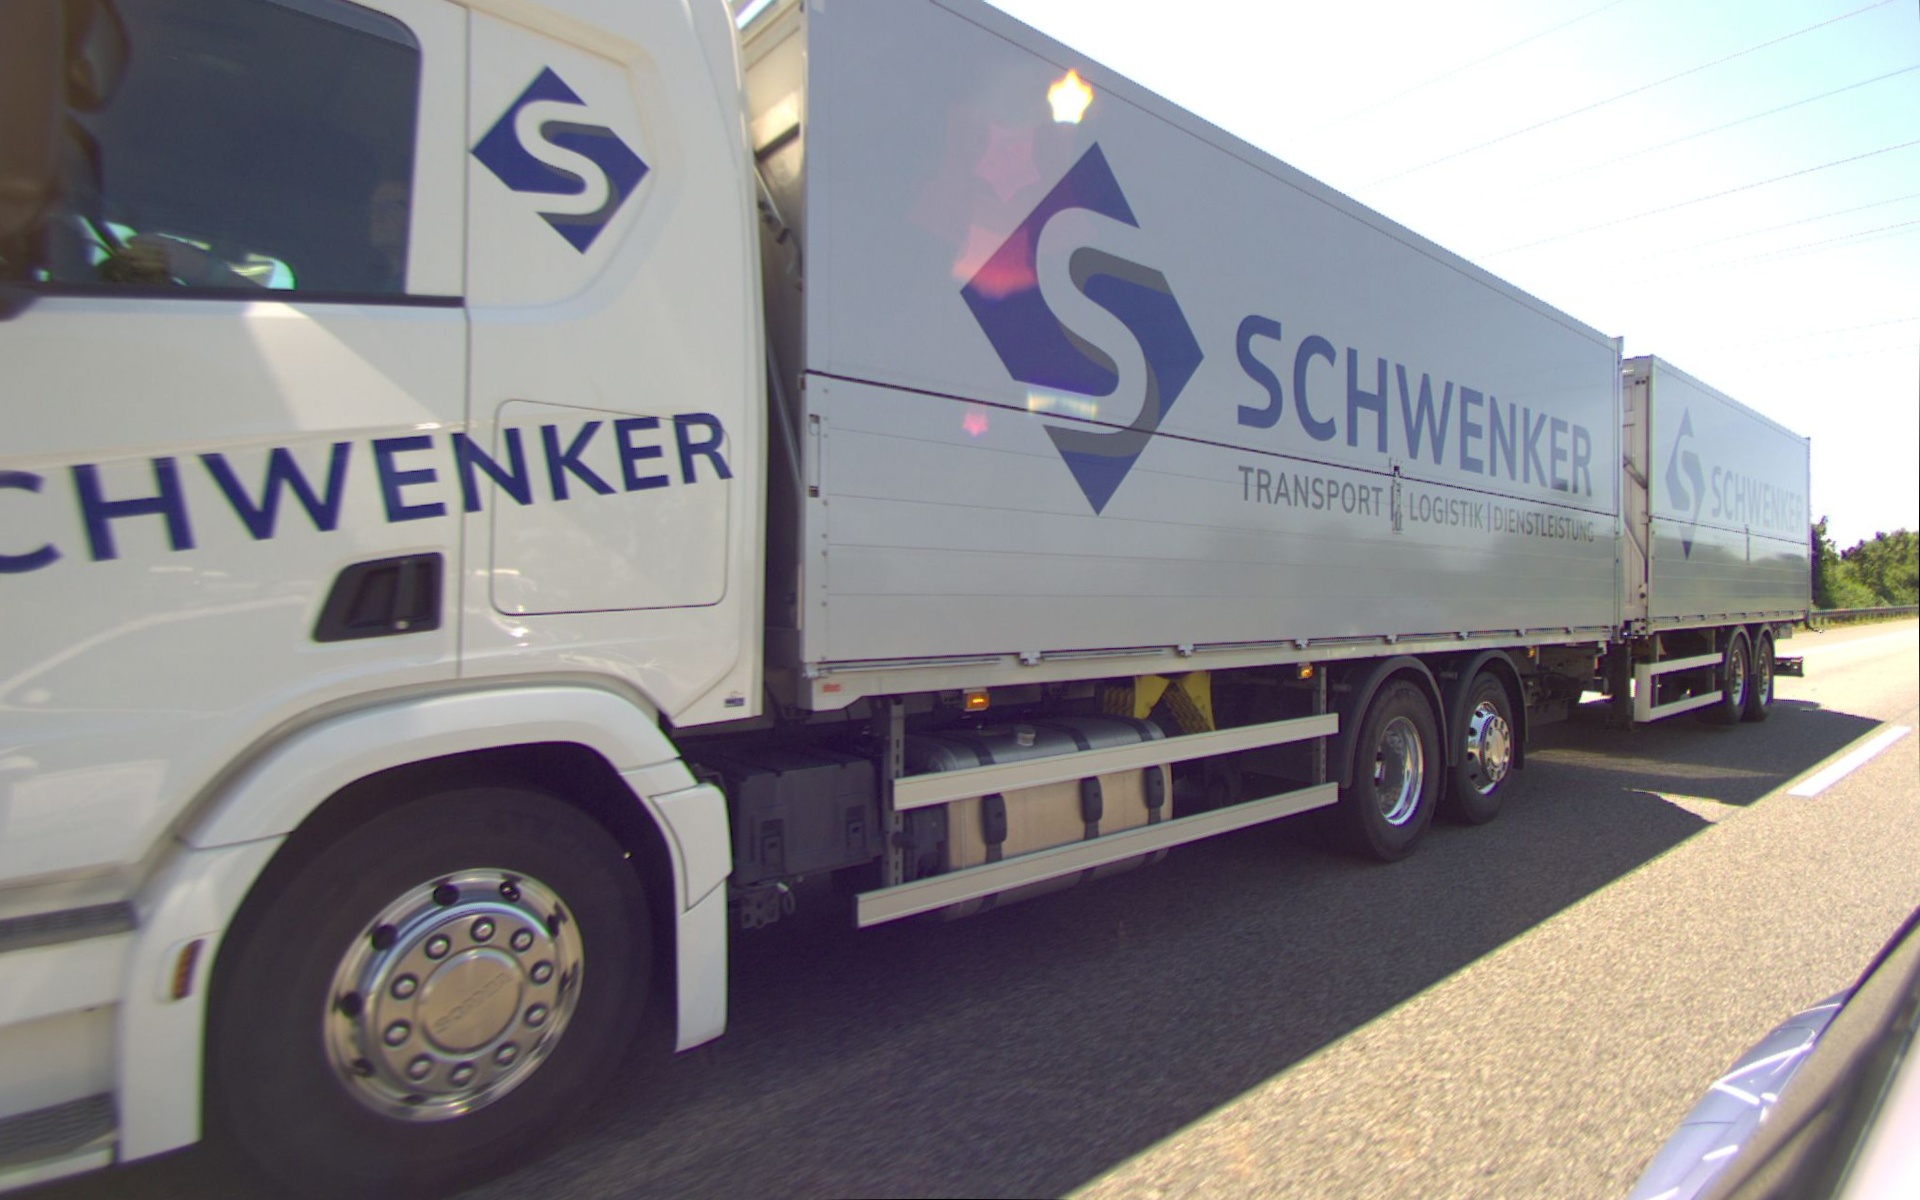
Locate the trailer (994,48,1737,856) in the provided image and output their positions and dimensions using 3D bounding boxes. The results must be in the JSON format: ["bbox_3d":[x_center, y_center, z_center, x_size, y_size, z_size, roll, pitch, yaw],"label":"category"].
[{"bbox_3d":[3.911,-0.800,8.610,7.190,4.092,2.925,-1,0,-41],"label":"trailer"}]

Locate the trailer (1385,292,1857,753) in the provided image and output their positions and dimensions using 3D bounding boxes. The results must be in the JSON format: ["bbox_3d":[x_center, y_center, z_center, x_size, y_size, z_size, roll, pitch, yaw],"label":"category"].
[{"bbox_3d":[8.705,-0.747,12.792,7.986,4.114,2.950,-1,0,-41],"label":"trailer"}]

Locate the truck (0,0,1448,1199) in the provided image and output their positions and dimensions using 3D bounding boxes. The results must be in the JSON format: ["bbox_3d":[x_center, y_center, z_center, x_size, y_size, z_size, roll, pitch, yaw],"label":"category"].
[{"bbox_3d":[-0.815,-0.668,4.471,6.749,4.081,2.894,-1,0,-41],"label":"truck"}]
